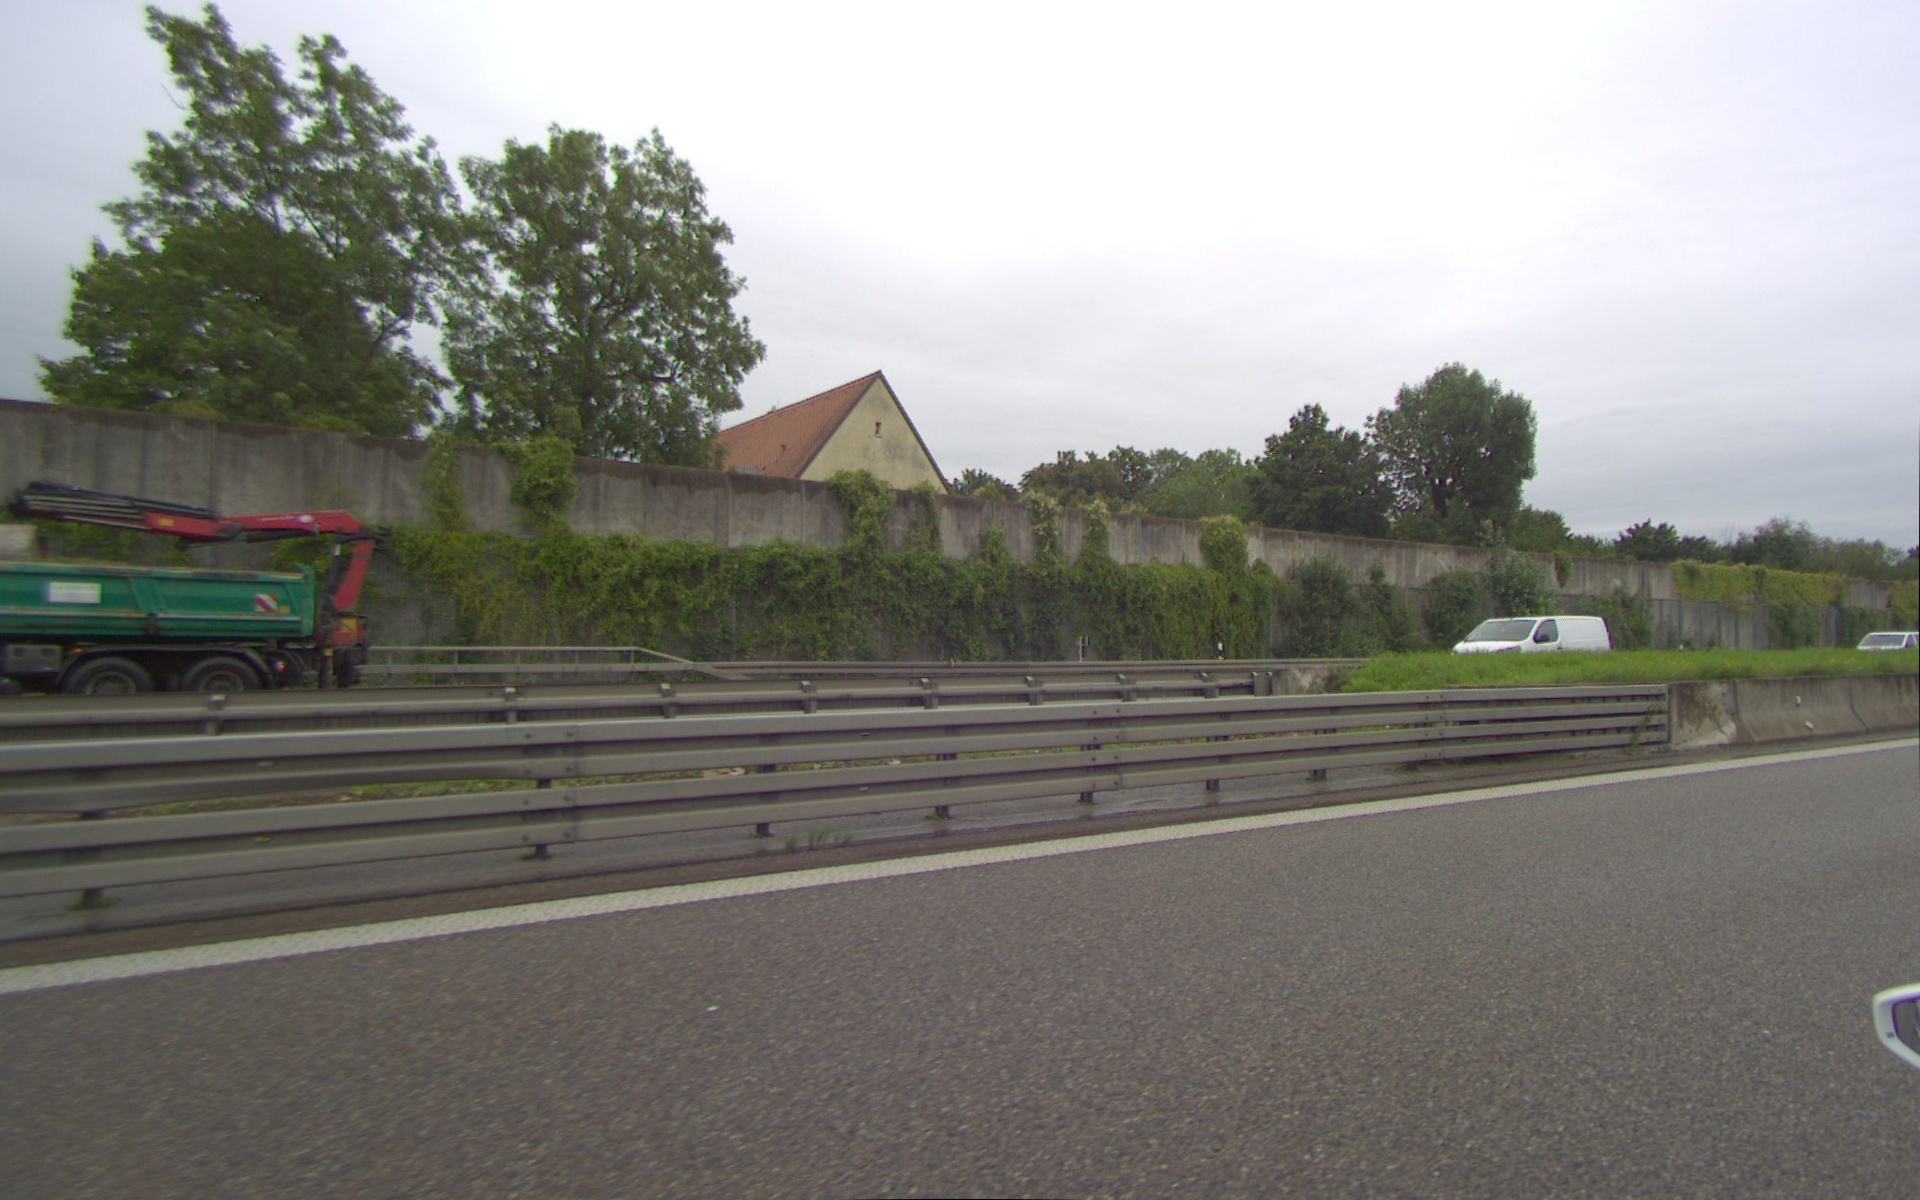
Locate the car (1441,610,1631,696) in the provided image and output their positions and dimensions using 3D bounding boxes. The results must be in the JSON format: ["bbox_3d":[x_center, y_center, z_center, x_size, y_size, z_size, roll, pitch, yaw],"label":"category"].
[{"bbox_3d":[15.029,1.335,26.140,5.135,2.040,2.070,2,-1,-31],"label":"car"}]

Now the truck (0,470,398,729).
[{"bbox_3d":[-14.027,0.007,16.505,8.242,3.827,2.678,2,0,-31],"label":"truck"}]

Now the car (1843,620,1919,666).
[{"bbox_3d":[44.220,2.050,47.685,5.168,2.040,1.983,2,0,-31],"label":"car"}]
